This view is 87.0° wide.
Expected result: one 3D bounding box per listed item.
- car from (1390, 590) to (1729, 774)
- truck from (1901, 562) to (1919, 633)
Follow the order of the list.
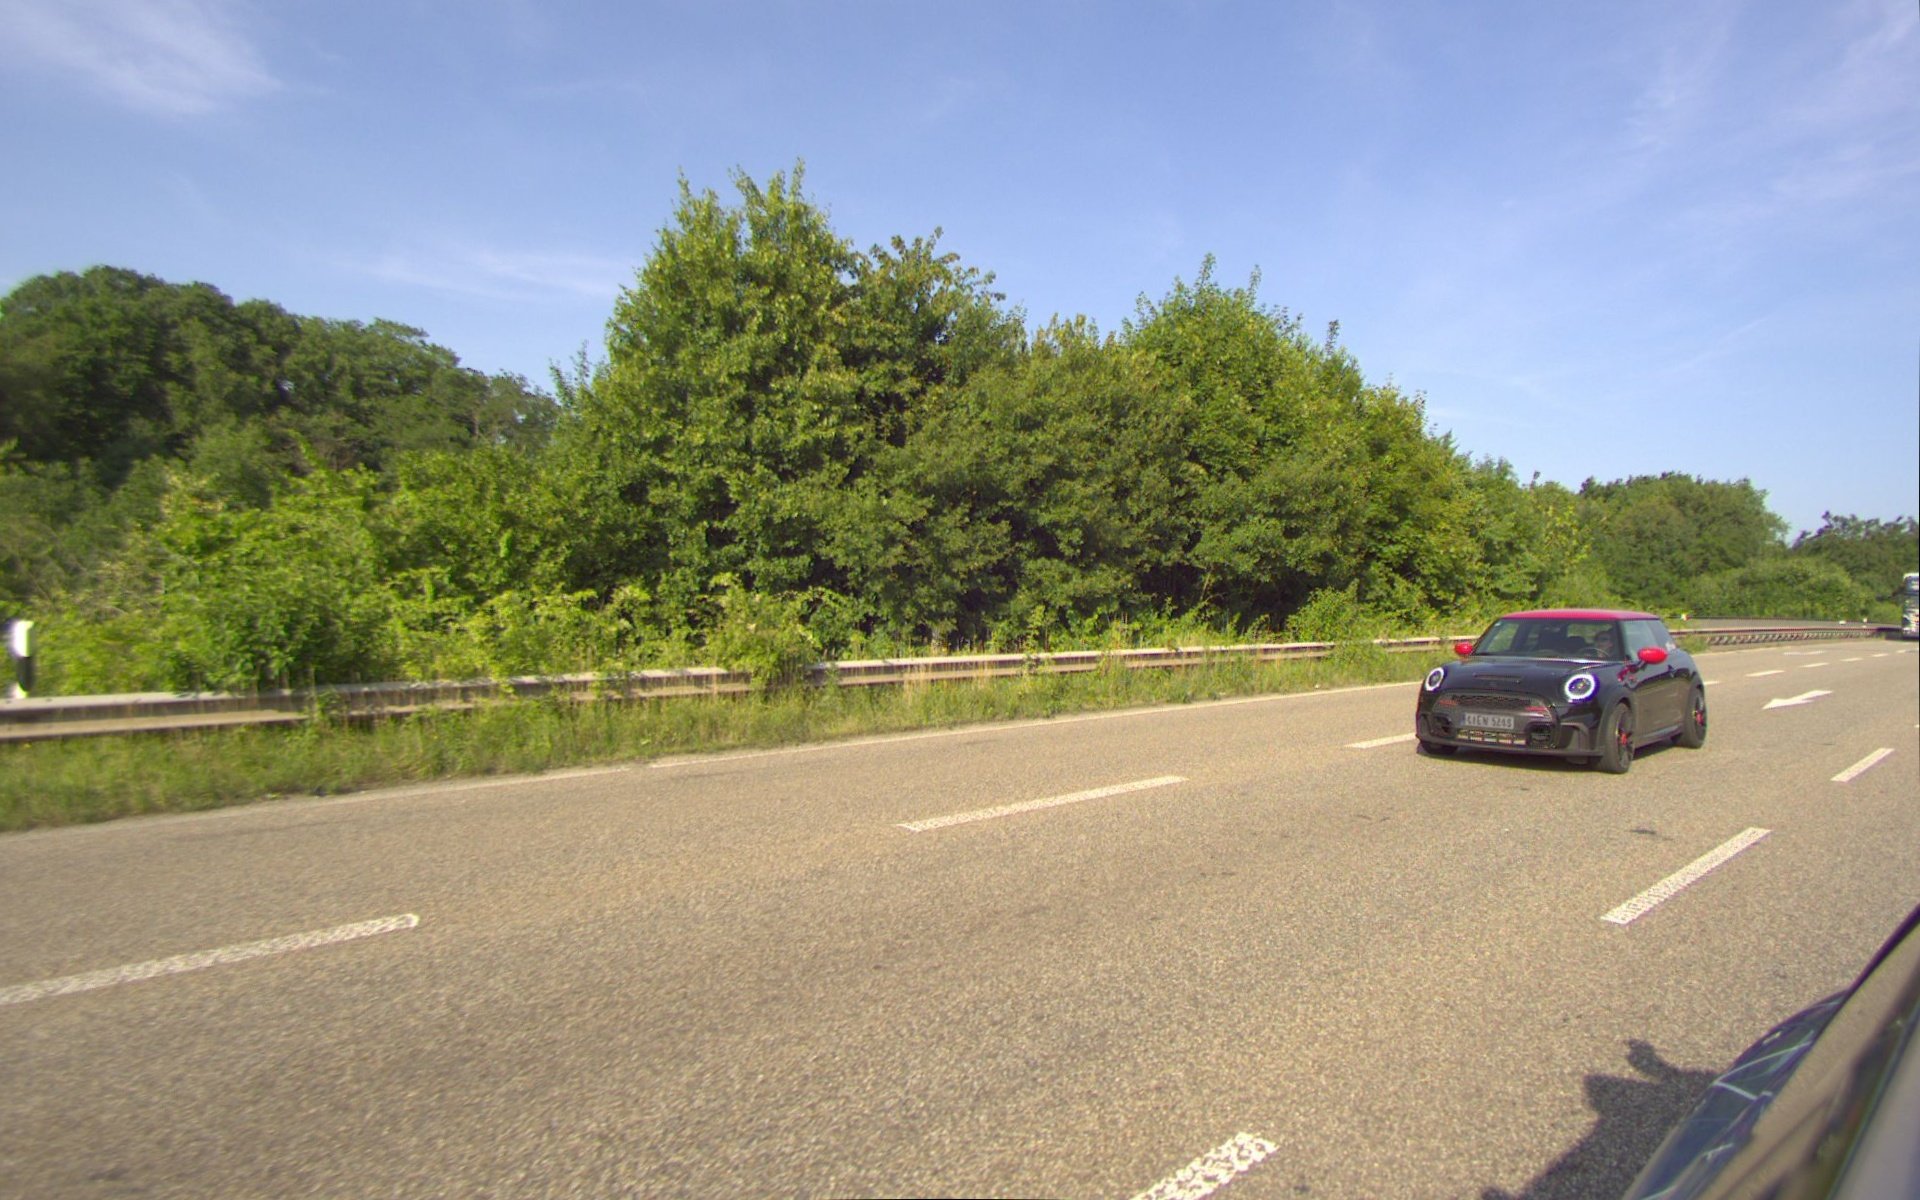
[{"bbox_3d":[6.102,0.651,10.149,3.805,1.486,1.823,0,0,-41],"label":"car"},{"bbox_3d":[60.851,-0.177,61.996,14.310,4.070,3.194,0,0,-41],"label":"truck"}]
